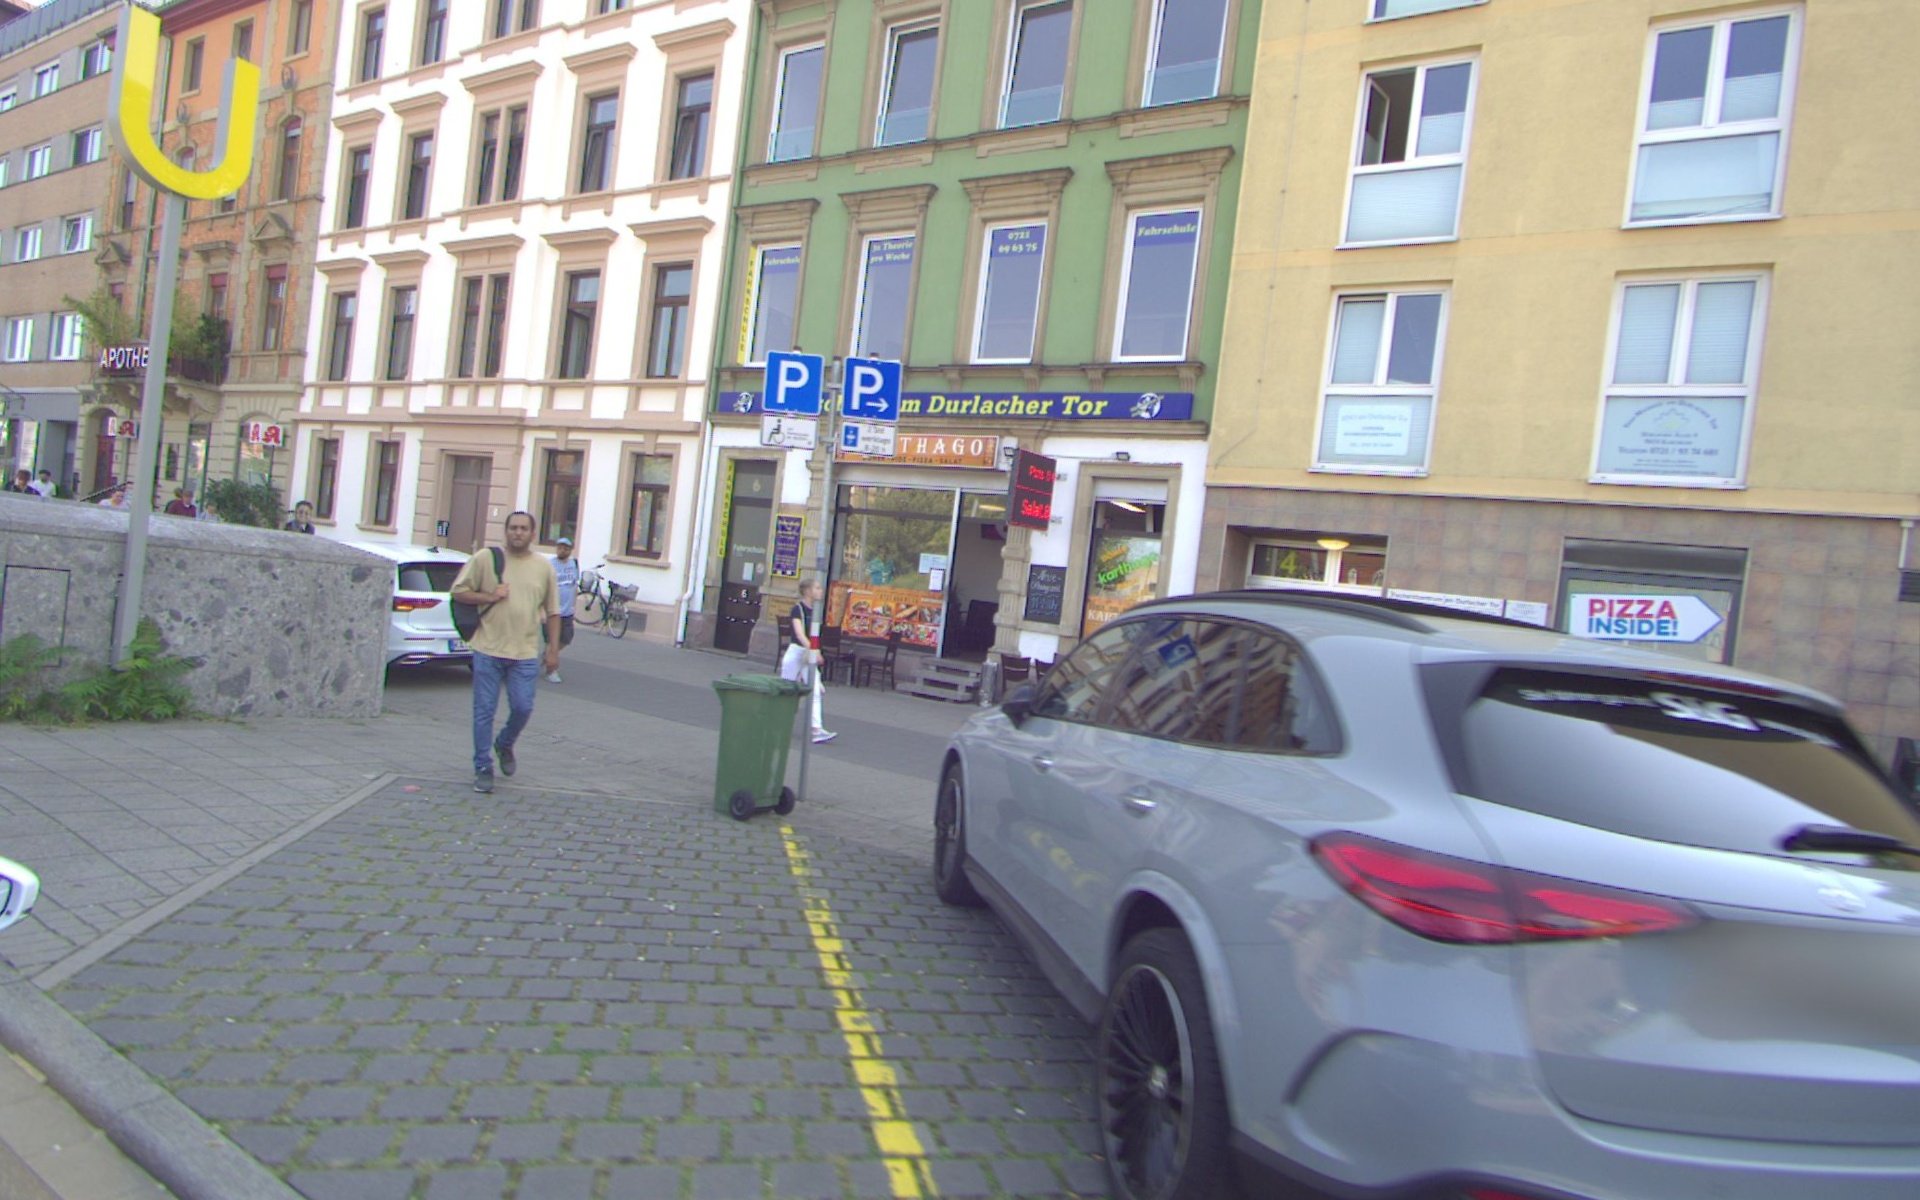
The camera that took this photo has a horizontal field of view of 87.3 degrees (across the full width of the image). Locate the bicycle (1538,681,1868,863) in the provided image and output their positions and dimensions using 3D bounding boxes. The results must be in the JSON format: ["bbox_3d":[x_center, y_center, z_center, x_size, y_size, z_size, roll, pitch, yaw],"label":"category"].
[{"bbox_3d":[7.137,1.590,9.865,2.383,1.254,0.939,7,1,34],"label":"bicycle"}]

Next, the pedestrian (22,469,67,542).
[{"bbox_3d":[-24.177,-2.488,26.566,0.865,1.819,0.599,7,3,31],"label":"pedestrian"}]

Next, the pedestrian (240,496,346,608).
[{"bbox_3d":[-10.390,-0.729,15.712,0.953,1.601,0.852,6,1,-3],"label":"pedestrian"}]

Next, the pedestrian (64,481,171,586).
[{"bbox_3d":[-14.126,-1.094,16.895,0.953,1.601,0.852,6,1,-3],"label":"pedestrian"}]

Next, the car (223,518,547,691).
[{"bbox_3d":[-6.705,0.025,11.668,3.558,1.458,1.633,8,1,31],"label":"car"}]

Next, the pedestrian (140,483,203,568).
[{"bbox_3d":[-18.414,-1.727,23.508,0.674,1.870,0.842,7,3,22],"label":"pedestrian"}]

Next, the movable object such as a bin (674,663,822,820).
[{"bbox_3d":[-1.443,0.950,6.875,0.688,0.926,0.538,7,-2,28],"label":"movable object such as a bin"}]

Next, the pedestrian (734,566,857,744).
[{"bbox_3d":[-1.609,0.525,10.016,0.953,1.601,0.852,6,1,-3],"label":"pedestrian"}]

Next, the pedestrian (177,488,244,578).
[{"bbox_3d":[-16.278,-1.456,21.840,1.000,1.796,0.685,8,2,30],"label":"pedestrian"}]

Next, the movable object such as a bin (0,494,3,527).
[{"bbox_3d":[-31.233,-2.916,32.080,0.752,1.061,0.645,6,1,-13],"label":"movable object such as a bin"}]

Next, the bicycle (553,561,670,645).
[{"bbox_3d":[-6.295,0.035,18.079,2.430,1.161,0.480,9,2,33],"label":"bicycle"}]

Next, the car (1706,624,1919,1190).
[{"bbox_3d":[4.251,1.102,1.796,1.954,1.708,4.383,7,0,-11],"label":"car"}]

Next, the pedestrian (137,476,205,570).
[{"bbox_3d":[-16.601,-1.617,21.166,1.000,1.796,0.685,8,2,30],"label":"pedestrian"}]

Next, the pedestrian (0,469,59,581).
[{"bbox_3d":[-15.889,-1.285,16.912,0.956,1.752,0.849,10,4,37],"label":"pedestrian"}]

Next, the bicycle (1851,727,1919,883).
[{"bbox_3d":[9.259,1.917,8.474,2.383,1.254,0.939,7,1,34],"label":"bicycle"}]

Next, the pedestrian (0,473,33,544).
[{"bbox_3d":[-24.567,-2.369,26.075,0.667,1.774,0.577,7,3,30],"label":"pedestrian"}]

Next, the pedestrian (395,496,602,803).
[{"bbox_3d":[-2.993,0.309,6.499,0.861,1.771,0.865,10,-1,-33],"label":"pedestrian"}]

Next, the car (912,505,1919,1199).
[{"bbox_3d":[1.213,0.798,4.017,2.010,1.735,4.655,7,0,-11],"label":"car"}]

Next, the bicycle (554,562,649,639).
[{"bbox_3d":[-6.516,0.002,18.242,1.816,1.198,0.459,7,1,31],"label":"bicycle"}]

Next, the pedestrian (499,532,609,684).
[{"bbox_3d":[-4.908,0.094,12.167,0.927,1.707,0.671,7,2,31],"label":"pedestrian"}]
